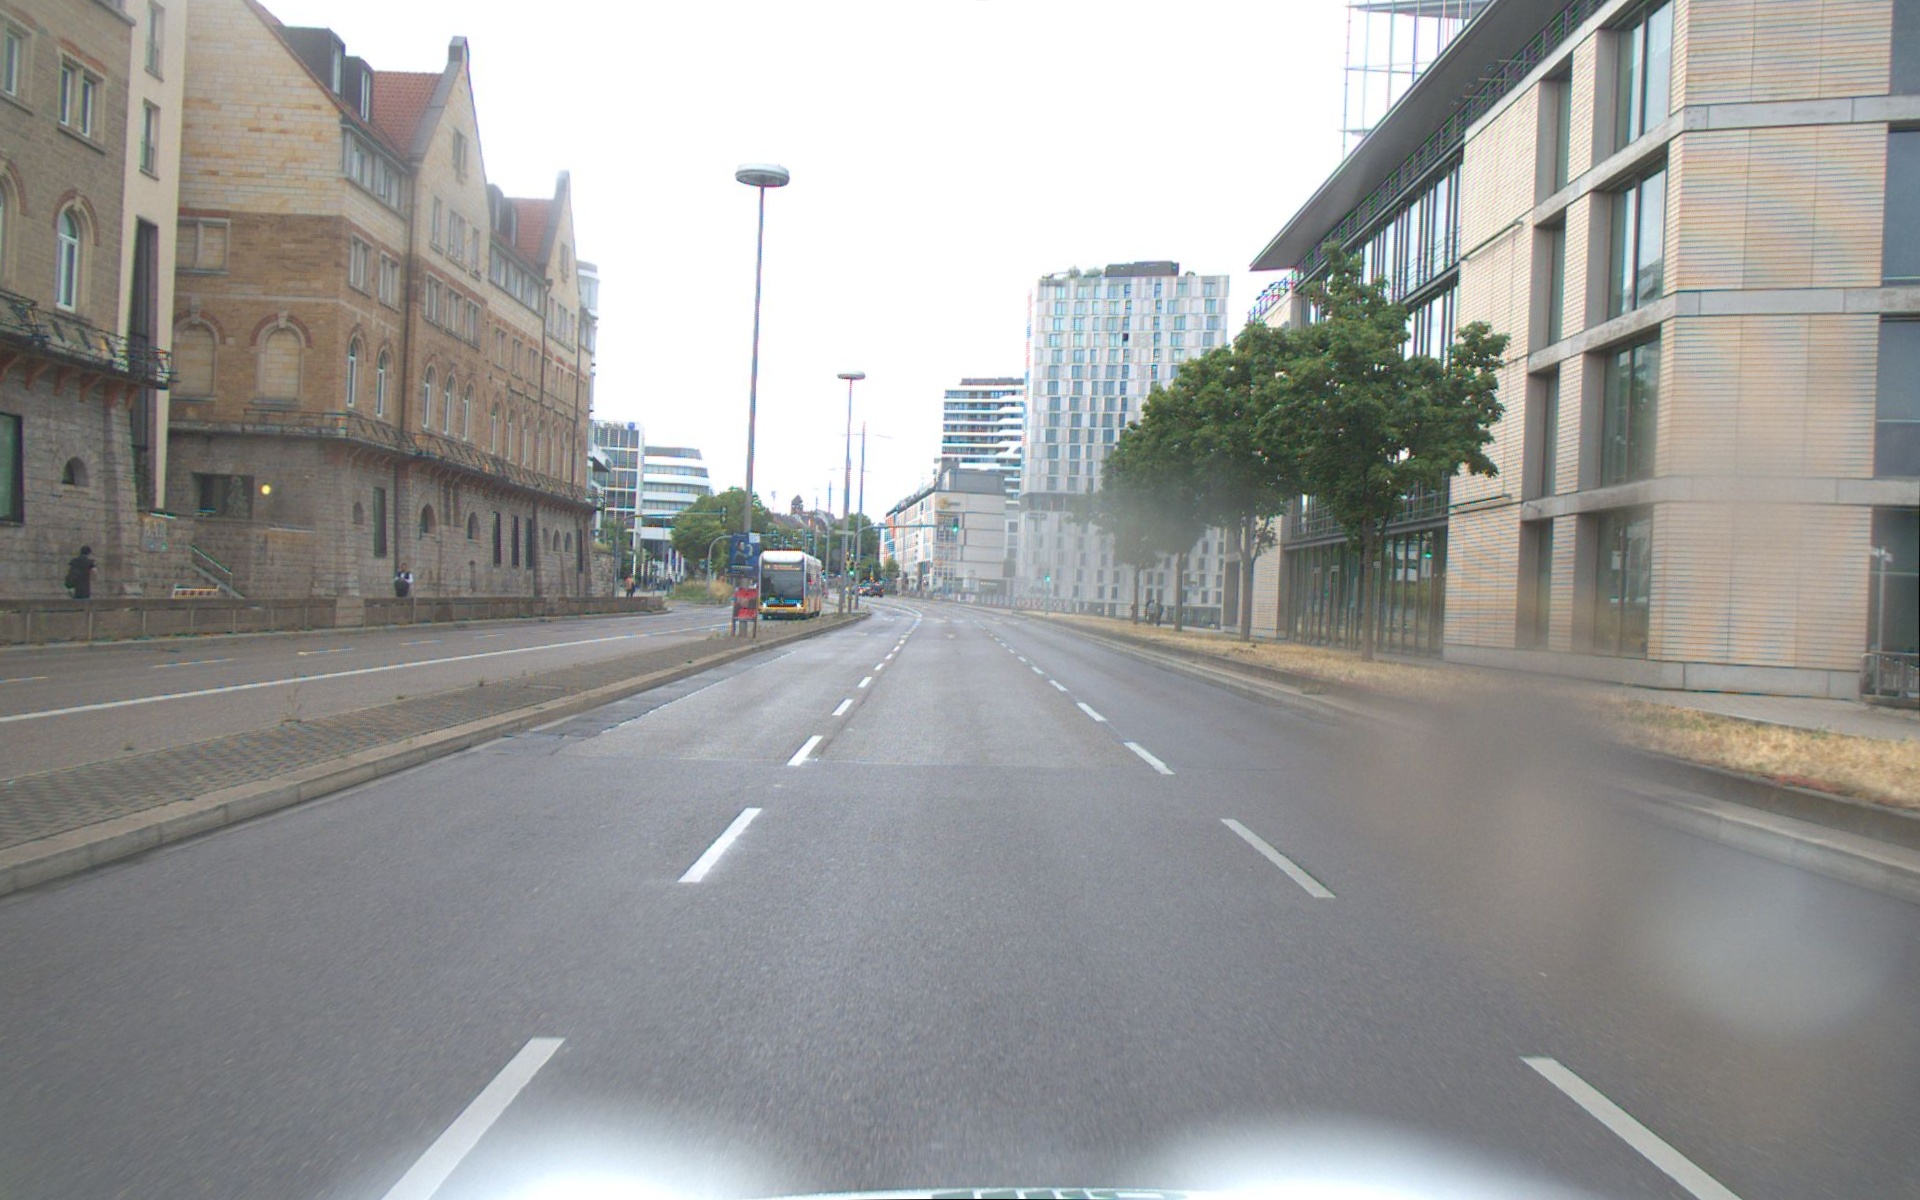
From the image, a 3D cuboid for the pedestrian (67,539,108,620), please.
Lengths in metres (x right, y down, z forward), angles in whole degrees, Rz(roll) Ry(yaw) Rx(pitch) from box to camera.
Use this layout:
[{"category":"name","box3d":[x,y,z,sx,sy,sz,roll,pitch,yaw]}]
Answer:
[{"category":"pedestrian","box3d":[-19.295,-0.459,36.597,0.629,1.776,0.619,1,1,-11]}]

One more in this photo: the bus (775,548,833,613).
[{"category":"bus","box3d":[-9.244,-1.152,98.670,2.643,3.621,10.091,1,1,-1]}]

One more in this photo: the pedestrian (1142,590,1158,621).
[{"category":"pedestrian","box3d":[11.363,0.327,99.052,0.777,1.873,0.542,0,2,-45]}]

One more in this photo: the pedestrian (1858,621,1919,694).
[{"category":"pedestrian","box3d":[17.886,1.094,31.838,0.857,1.363,0.969,2,0,17]}]

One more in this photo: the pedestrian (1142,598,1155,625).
[{"category":"pedestrian","box3d":[11.327,0.669,99.354,0.540,1.605,0.669,2,2,33]}]

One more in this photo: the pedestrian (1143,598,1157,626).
[{"category":"pedestrian","box3d":[11.090,0.674,96.730,0.540,1.605,0.669,2,2,33]}]

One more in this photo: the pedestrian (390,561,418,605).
[{"category":"pedestrian","box3d":[-19.273,-0.605,57.364,0.739,1.503,0.714,1,1,-2]}]

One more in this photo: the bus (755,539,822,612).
[{"category":"bus","box3d":[-9.026,-1.246,88.041,2.643,3.621,10.091,1,0,-1]}]

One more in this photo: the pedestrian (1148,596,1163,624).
[{"category":"pedestrian","box3d":[11.525,0.578,97.516,0.658,1.605,0.666,2,2,37]}]
